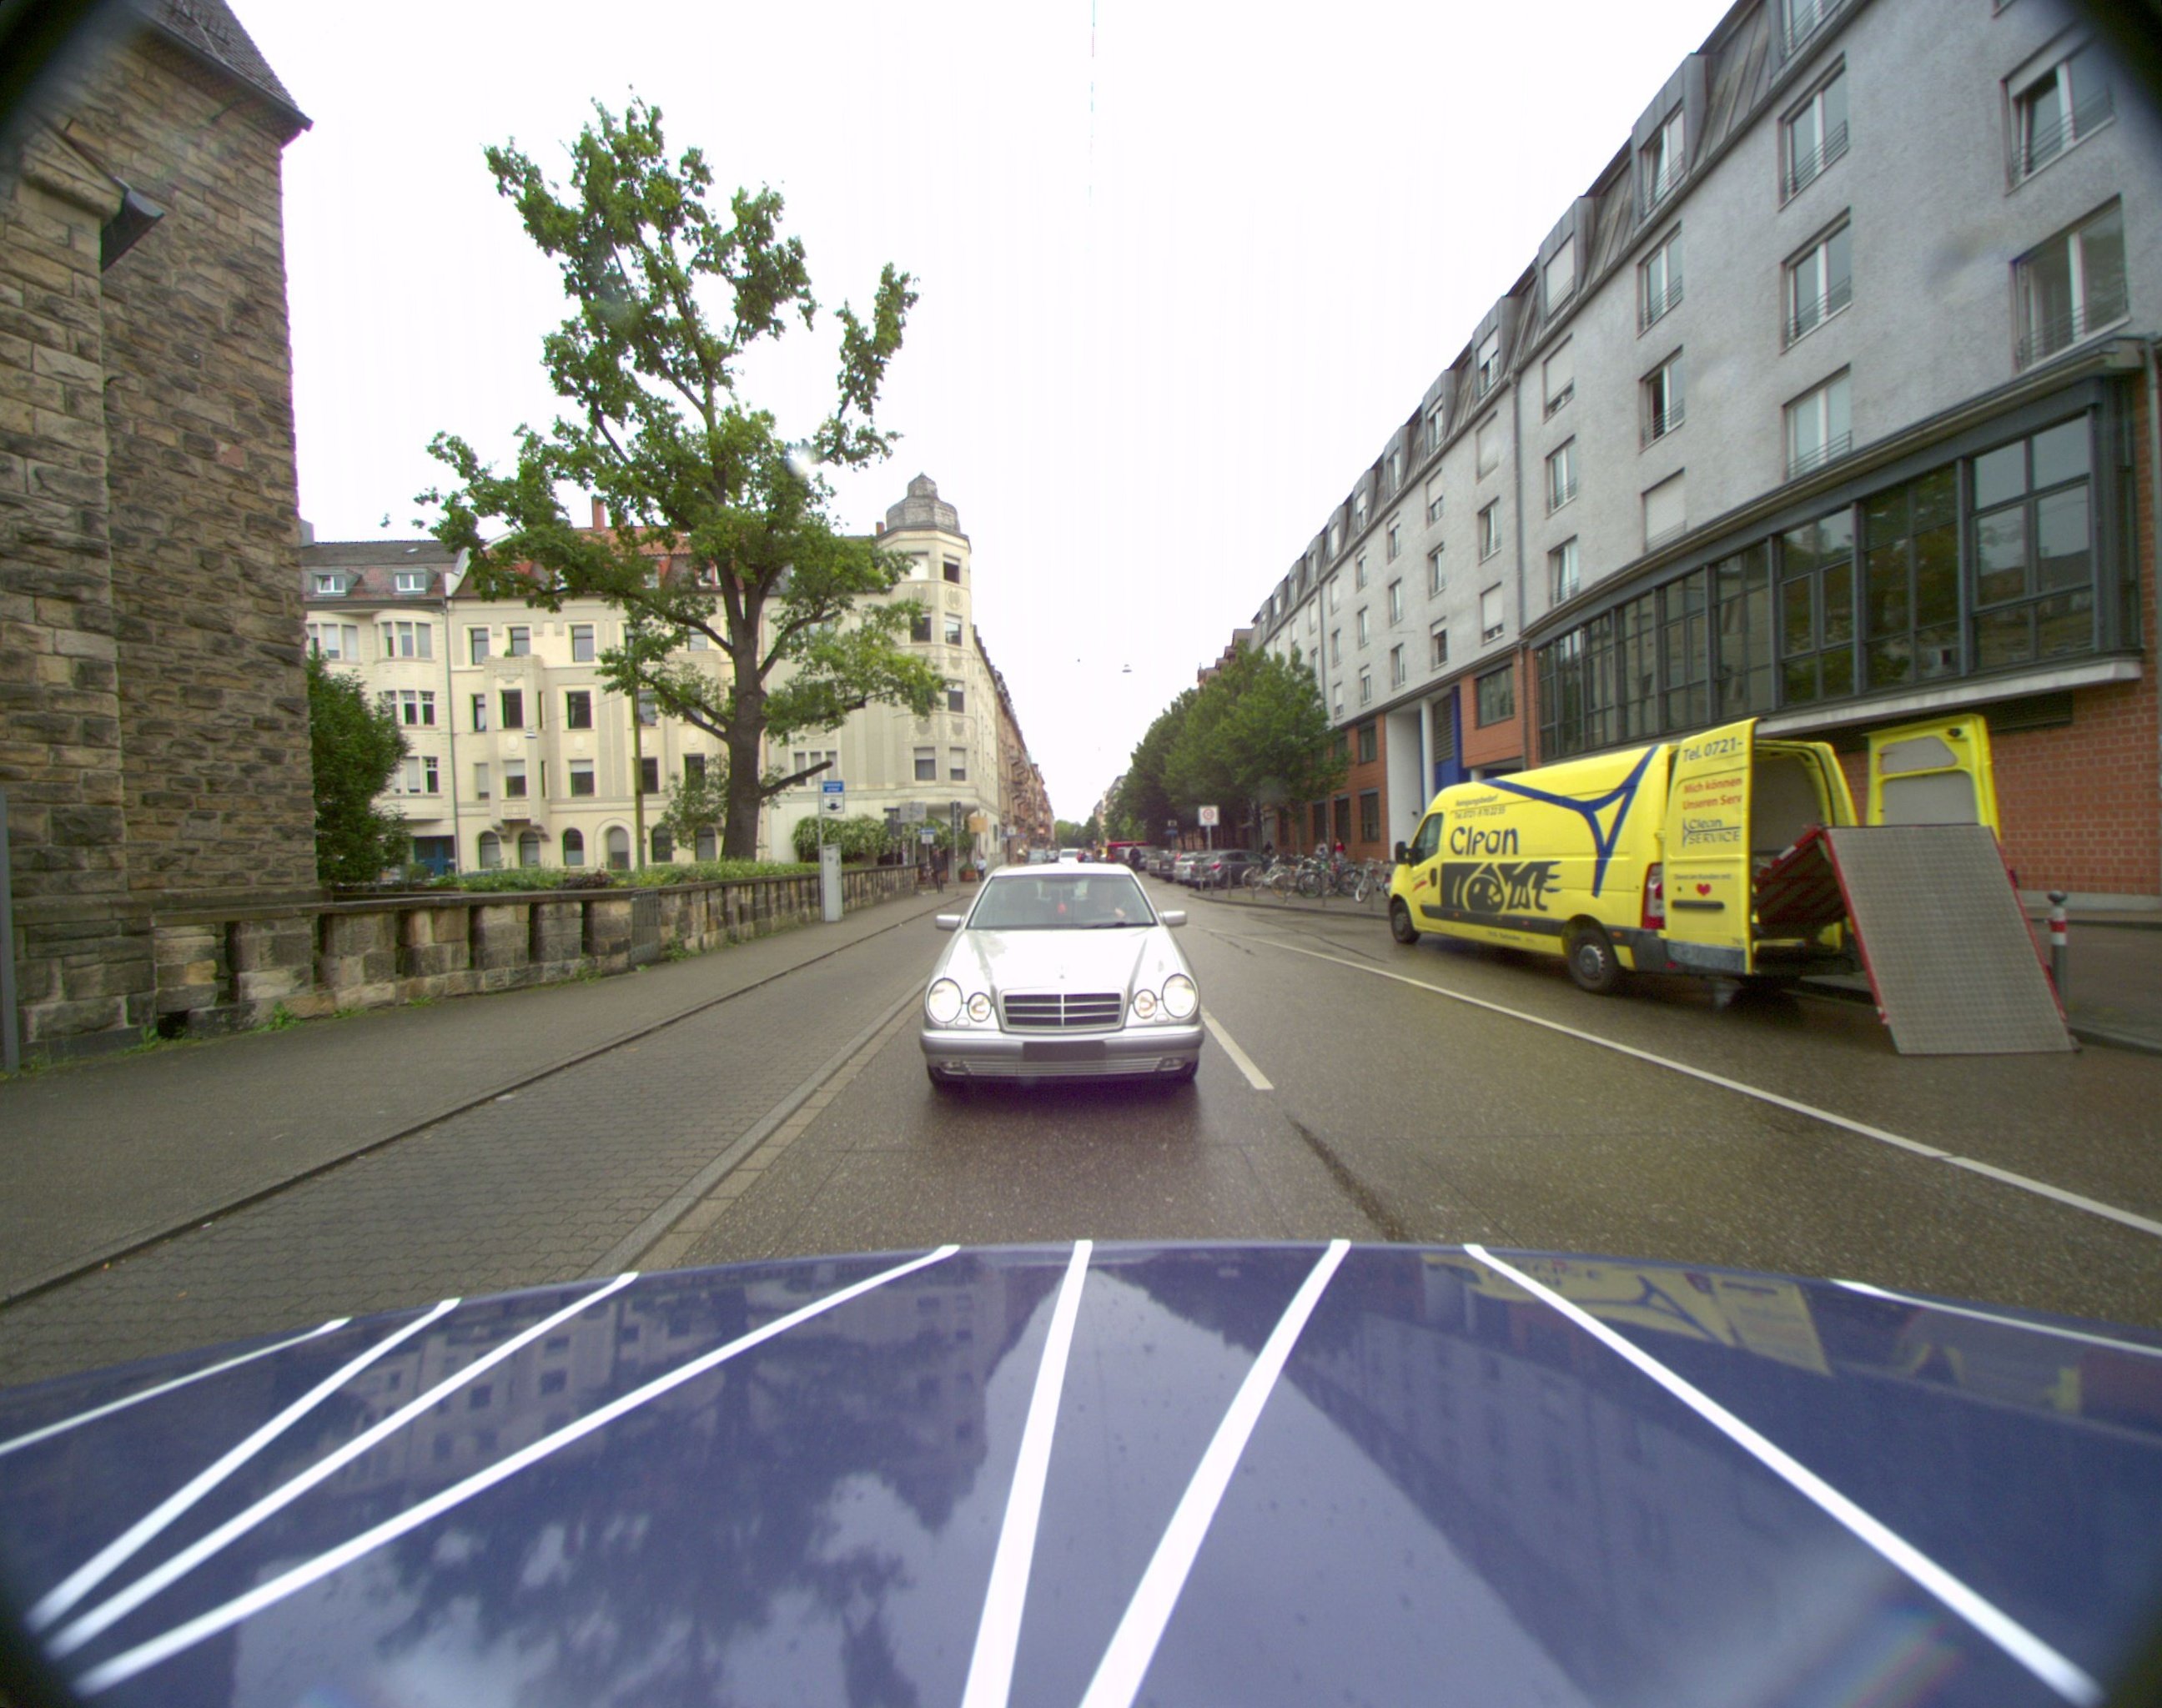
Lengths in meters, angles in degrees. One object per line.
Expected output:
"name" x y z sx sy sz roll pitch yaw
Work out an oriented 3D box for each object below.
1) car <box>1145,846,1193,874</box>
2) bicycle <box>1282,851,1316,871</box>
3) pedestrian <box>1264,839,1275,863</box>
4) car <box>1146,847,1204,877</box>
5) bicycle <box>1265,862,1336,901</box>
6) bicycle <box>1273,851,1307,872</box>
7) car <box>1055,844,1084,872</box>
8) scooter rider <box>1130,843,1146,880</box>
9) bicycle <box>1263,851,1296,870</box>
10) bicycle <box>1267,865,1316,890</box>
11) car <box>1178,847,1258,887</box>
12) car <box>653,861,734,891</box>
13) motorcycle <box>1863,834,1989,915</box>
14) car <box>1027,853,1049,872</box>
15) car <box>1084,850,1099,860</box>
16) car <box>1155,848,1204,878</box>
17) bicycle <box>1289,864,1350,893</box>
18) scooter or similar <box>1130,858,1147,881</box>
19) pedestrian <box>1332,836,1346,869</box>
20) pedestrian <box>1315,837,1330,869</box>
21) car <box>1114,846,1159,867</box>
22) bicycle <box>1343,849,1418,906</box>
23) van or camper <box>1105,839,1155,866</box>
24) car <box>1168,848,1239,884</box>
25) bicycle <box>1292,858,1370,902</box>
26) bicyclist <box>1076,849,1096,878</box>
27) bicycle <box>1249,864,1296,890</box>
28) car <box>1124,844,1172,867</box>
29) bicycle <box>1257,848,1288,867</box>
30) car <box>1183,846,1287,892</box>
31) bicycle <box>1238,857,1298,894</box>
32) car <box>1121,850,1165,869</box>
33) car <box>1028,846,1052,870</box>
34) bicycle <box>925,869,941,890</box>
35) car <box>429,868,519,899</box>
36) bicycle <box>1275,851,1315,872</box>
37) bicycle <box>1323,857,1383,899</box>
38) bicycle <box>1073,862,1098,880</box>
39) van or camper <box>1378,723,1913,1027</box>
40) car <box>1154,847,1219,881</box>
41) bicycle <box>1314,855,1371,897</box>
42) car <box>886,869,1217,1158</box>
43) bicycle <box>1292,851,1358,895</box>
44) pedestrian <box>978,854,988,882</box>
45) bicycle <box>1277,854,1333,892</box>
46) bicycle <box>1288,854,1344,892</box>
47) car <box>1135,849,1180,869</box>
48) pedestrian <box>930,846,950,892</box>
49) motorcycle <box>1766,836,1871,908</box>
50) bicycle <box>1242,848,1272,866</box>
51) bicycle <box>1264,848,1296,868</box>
"car" 5.321 0.383 45.986 2.685 1.546 1.148 -3 1 -29
"bicycle" 11.090 0.350 38.665 1.590 0.979 0.445 -2 1 -8
"pedestrian" 12.257 -0.193 49.455 0.571 1.588 0.533 -2 1 1
"car" 5.351 0.453 43.230 2.985 1.546 1.369 -3 1 -29
"bicycle" 6.124 0.764 21.262 1.800 0.987 0.520 -3 1 -2
"bicycle" 10.467 0.371 38.120 1.590 0.979 0.445 -2 1 -8
"car" -0.832 0.277 57.012 1.998 2.002 4.000 -1 1 1
"scooter rider" 3.015 0.379 40.246 0.712 1.924 0.503 -1 1 -2
"bicycle" 10.459 0.334 40.035 1.590 0.979 0.445 -2 1 -8
"bicycle" 7.033 0.779 25.398 1.473 0.717 0.497 -3 1 3
"car" 5.784 0.537 31.997 3.083 1.494 1.449 -3 1 -31
"car" -19.276 1.073 37.878 3.270 1.401 1.448 -1 1 3
"motorcycle" 13.270 0.284 12.002 0.524 1.174 1.760 -3 1 19
"car" -3.149 0.629 56.449 1.447 1.348 3.204 -1 0 0
"car" 1.326 0.104 98.298 1.651 1.301 3.311 -1 0 -3
"car" 5.303 0.476 40.722 2.506 1.442 1.191 -3 1 -40
"bicycle" 7.264 0.750 23.152 1.773 0.757 0.456 -3 1 -13
"scooter or similar" 3.029 0.811 40.196 0.702 1.158 1.385 -1 1 -2
"pedestrian" 12.794 -0.089 37.669 0.514 1.601 0.425 -2 1 1
"pedestrian" 12.126 -0.046 38.107 0.605 1.601 0.372 -2 1 -1
"car" 5.176 0.212 70.682 4.338 1.822 1.571 -1 1 -41
"bicycle" 7.523 0.561 19.035 1.922 1.209 0.768 -6 3 -35
"van or camper" 4.951 -0.137 76.603 4.604 2.597 1.999 -1 1 -27
"car" 5.593 0.529 34.605 3.084 1.494 1.449 -3 1 -40
"bicycle" 6.702 0.703 20.425 1.858 1.067 0.609 -3 1 5
"bicyclist" 0.282 0.495 41.164 0.535 1.521 1.137 -1 1 30
"bicycle" 6.552 0.788 26.025 1.473 0.800 0.497 -3 1 3
"car" 5.966 0.112 67.170 4.338 1.884 1.685 -1 1 -41
"bicycle" 10.551 0.188 41.820 1.590 0.979 0.465 -2 1 -8
"car" 5.909 0.537 29.070 3.629 1.494 1.736 -3 2 -31
"bicycle" 6.125 0.687 24.956 1.812 1.099 0.472 -3 1 -5
"car" 5.179 0.436 62.939 1.685 1.482 3.799 0 1 40
"car" -3.321 0.310 61.518 1.726 1.794 3.462 -1 0 0
"bicycle" -7.321 1.237 37.683 0.390 0.888 2.023 -1 3 0
"car" -29.787 1.423 37.319 3.270 1.401 1.448 -1 1 3
"bicycle" 10.595 0.376 37.647 1.851 0.979 0.445 -2 1 -8
"bicycle" 7.485 0.650 20.930 1.462 1.058 0.418 -3 1 4
"bicycle" 0.274 0.900 41.142 0.535 0.879 1.784 -1 1 30
"van or camper" 6.064 0.162 9.546 2.202 2.596 5.941 -1 0 -1
"car" 5.232 0.484 37.490 3.084 1.543 1.449 -3 1 -40
"bicycle" 7.466 0.628 21.705 1.461 1.096 0.462 -3 1 14
"car" -0.157 0.914 6.147 1.764 1.420 3.999 -2 0 0
"bicycle" 7.248 0.559 22.561 1.815 1.187 0.519 -3 1 -13
"pedestrian" -5.179 0.732 40.179 0.482 1.452 0.392 -1 1 -1
"bicycle" 7.192 0.609 24.454 1.610 1.099 0.520 -3 1 -5
"bicycle" 7.368 0.581 23.809 1.611 1.099 0.519 -3 1 -13
"car" 6.118 0.407 60.424 1.685 1.482 3.799 0 1 40
"pedestrian" -5.736 0.600 30.978 0.646 1.862 0.693 -1 1 0
"motorcycle" 13.062 0.288 13.527 0.524 1.174 2.006 -3 1 19
"bicycle" 10.197 0.155 44.094 1.590 0.979 0.465 -2 1 -8
"bicycle" 10.668 0.206 40.655 1.590 0.979 0.445 -2 1 -8
